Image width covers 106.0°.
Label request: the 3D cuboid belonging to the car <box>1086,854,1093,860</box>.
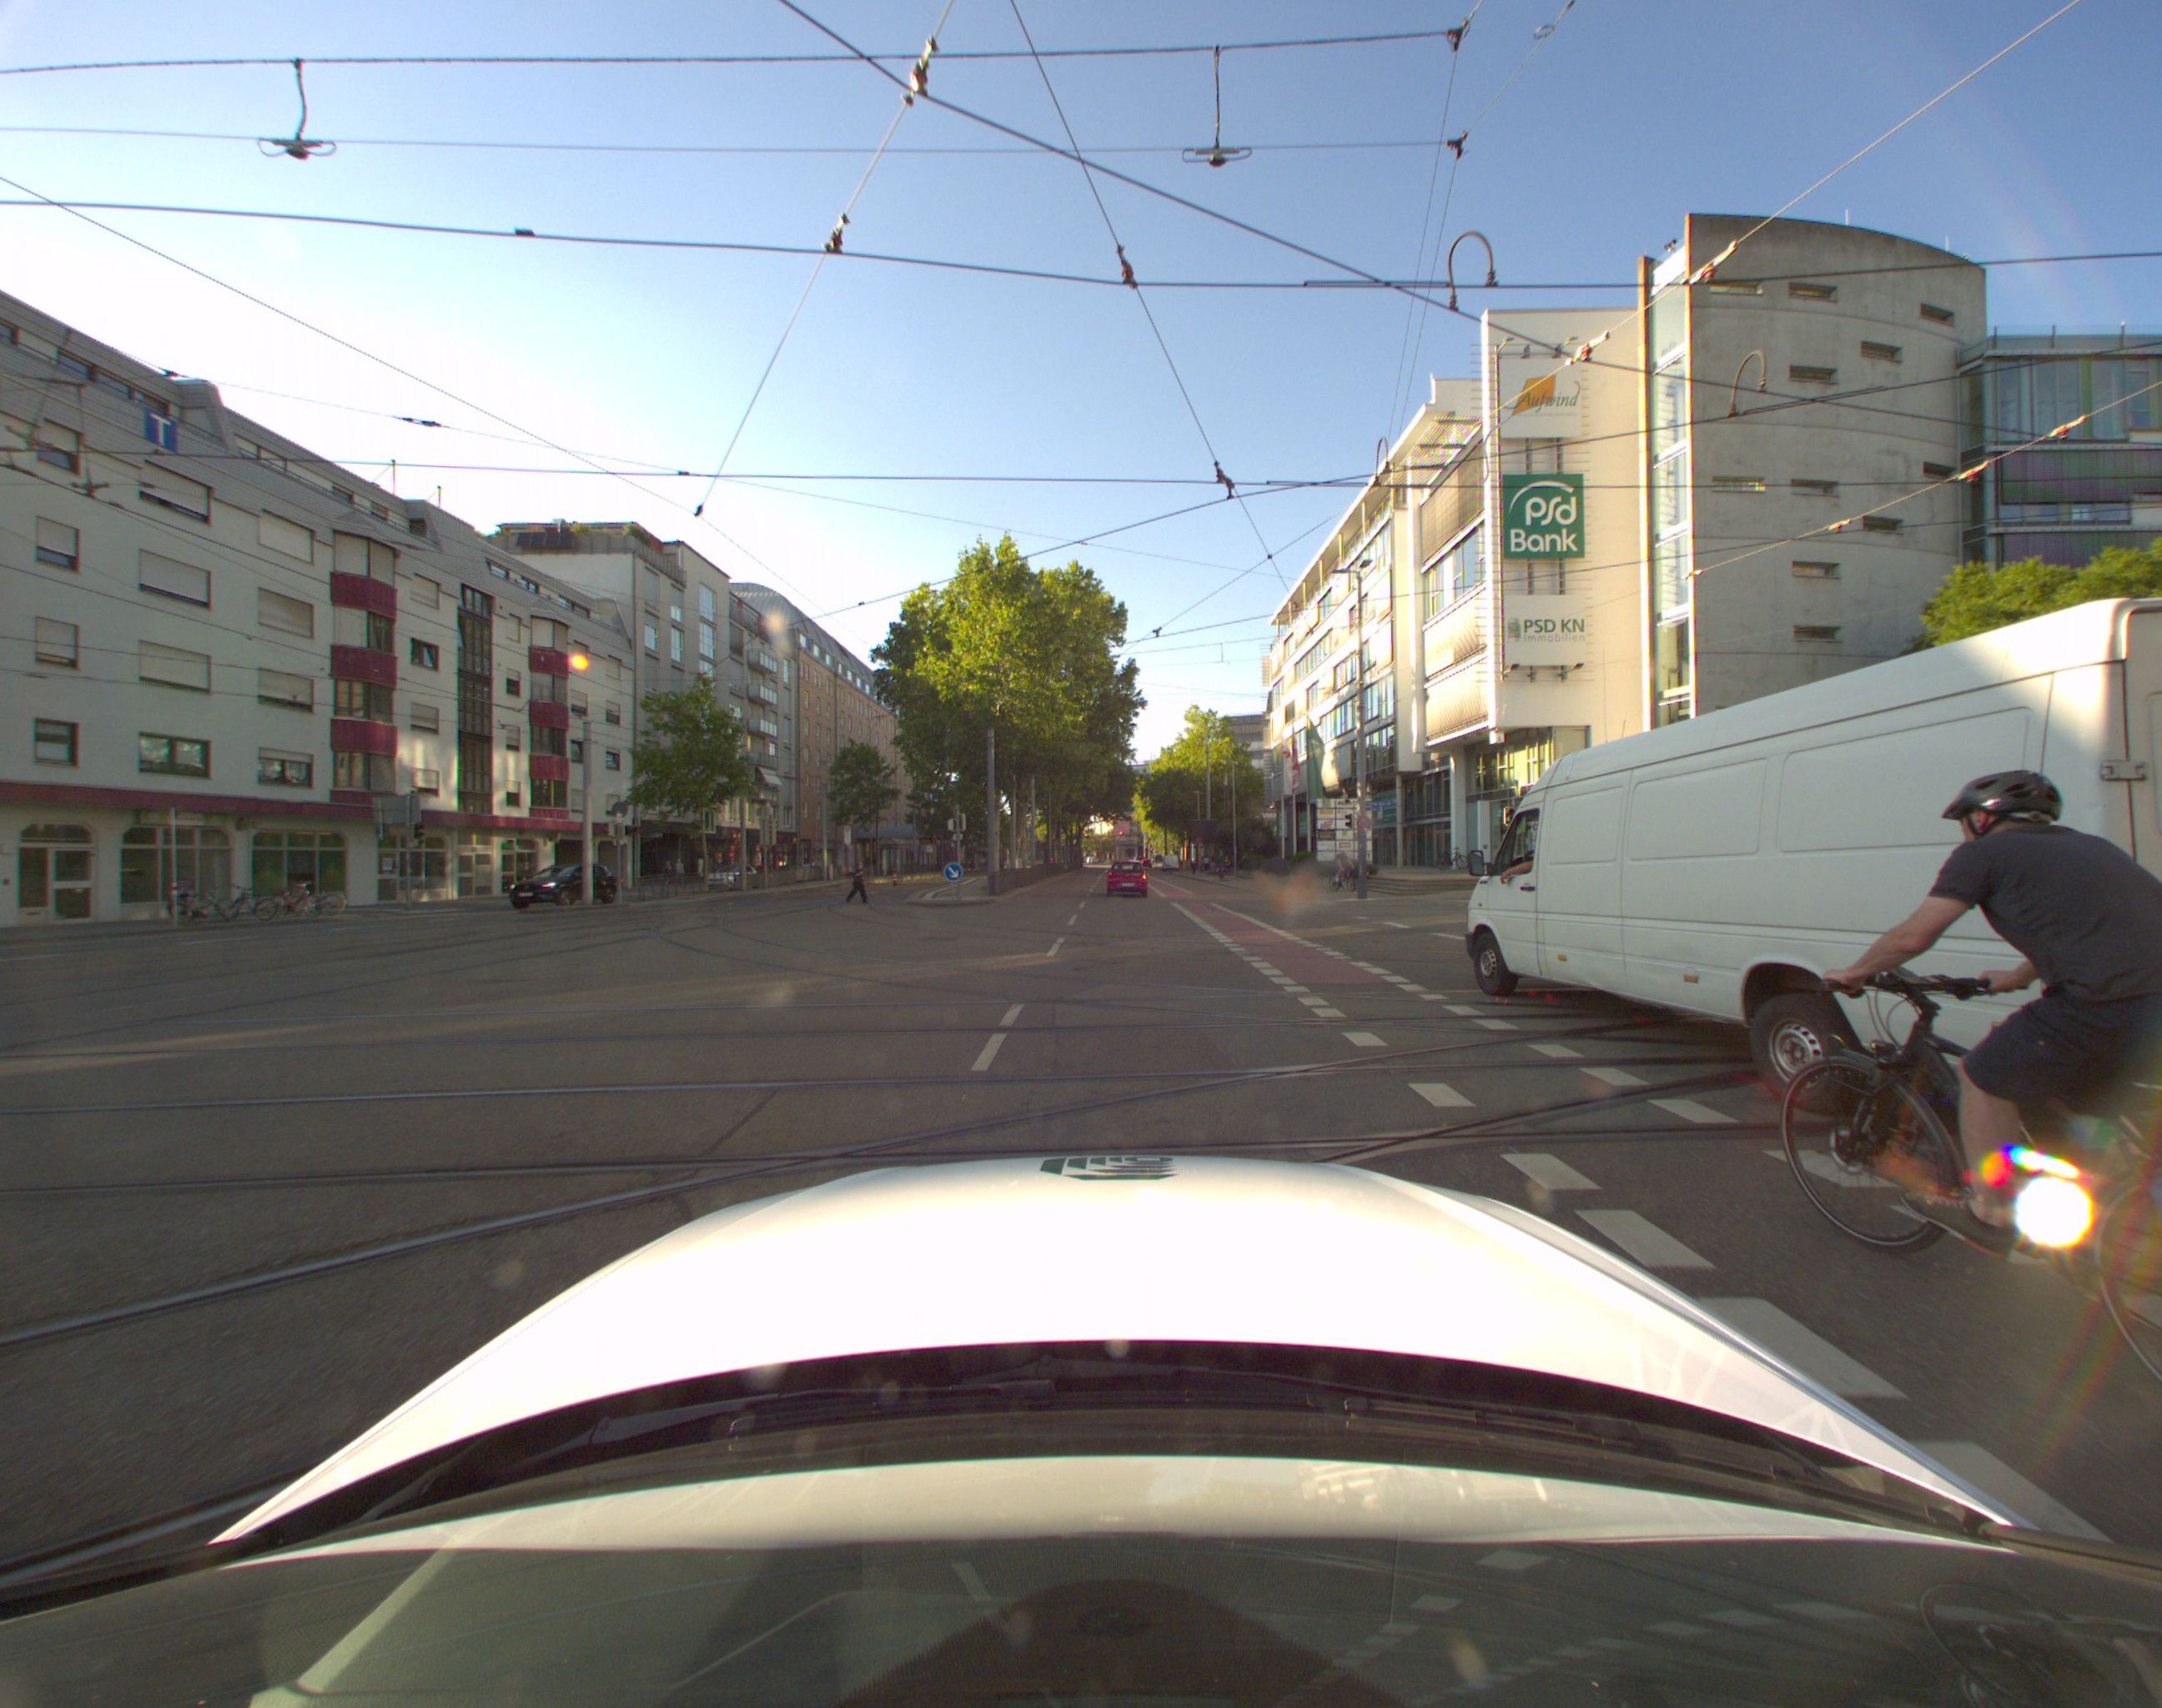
[{"bbox_3d":[2.528,0.938,240.335,1.773,1.588,3.408,0,0,-3],"label":"car"}]

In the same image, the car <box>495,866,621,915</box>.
[{"bbox_3d":[-19.785,1.328,31.049,1.948,1.672,4.261,-1,0,1],"label":"car"}]

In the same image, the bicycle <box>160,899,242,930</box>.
[{"bbox_3d":[-25.235,1.733,23.366,1.835,0.854,0.554,-1,-1,4],"label":"bicycle"}]

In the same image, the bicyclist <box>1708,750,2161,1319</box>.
[{"bbox_3d":[2.922,0.513,2.859,0.646,1.603,1.091,-1,-1,6],"label":"bicyclist"}]

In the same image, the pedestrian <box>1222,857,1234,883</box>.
[{"bbox_3d":[9.764,1.062,54.099,0.644,1.680,0.651,-1,-1,1],"label":"pedestrian"}]

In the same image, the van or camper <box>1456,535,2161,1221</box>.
[{"bbox_3d":[5.219,0.112,6.353,1.961,2.716,6.309,0,0,3],"label":"van or camper"}]

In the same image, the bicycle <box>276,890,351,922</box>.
[{"bbox_3d":[-24.462,1.648,25.959,1.837,0.985,0.553,-1,-1,-1],"label":"bicycle"}]

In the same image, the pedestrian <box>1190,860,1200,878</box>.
[{"bbox_3d":[10.100,1.328,72.371,0.640,1.579,0.723,-4,-1,-1],"label":"pedestrian"}]

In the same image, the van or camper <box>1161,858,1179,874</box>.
[{"bbox_3d":[11.165,1.466,102.367,1.985,1.989,4.748,0,-1,3],"label":"van or camper"}]

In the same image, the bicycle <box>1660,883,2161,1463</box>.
[{"bbox_3d":[2.934,0.775,2.800,0.646,1.281,1.969,-1,-1,7],"label":"bicycle"}]

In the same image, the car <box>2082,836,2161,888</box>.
[{"bbox_3d":[37.053,0.239,27.525,3.973,1.695,1.987,-1,0,0],"label":"car"}]

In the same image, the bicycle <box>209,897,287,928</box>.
[{"bbox_3d":[-24.614,1.716,24.078,1.835,0.854,0.554,-1,-1,4],"label":"bicycle"}]

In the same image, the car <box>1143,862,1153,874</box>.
[{"bbox_3d":[11.083,2.303,135.266,1.628,1.800,3.333,-1,-1,4],"label":"car"}]

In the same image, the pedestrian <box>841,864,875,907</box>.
[{"bbox_3d":[-8.192,1.136,29.927,1.043,1.544,0.694,-1,-1,-2],"label":"pedestrian"}]

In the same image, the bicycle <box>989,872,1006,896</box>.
[{"bbox_3d":[-3.532,1.260,34.424,0.393,0.949,1.354,-1,2,7],"label":"bicycle"}]

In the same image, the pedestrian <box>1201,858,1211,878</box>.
[{"bbox_3d":[10.890,1.230,71.063,0.562,1.702,0.906,-4,-1,0],"label":"pedestrian"}]

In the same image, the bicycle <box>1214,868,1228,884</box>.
[{"bbox_3d":[9.323,1.449,54.131,0.519,0.975,2.202,-4,0,1],"label":"bicycle"}]

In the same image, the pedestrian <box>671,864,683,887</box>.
[{"bbox_3d":[-26.531,1.402,53.491,0.533,1.494,0.587,-1,-1,-1],"label":"pedestrian"}]

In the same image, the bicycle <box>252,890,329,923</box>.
[{"bbox_3d":[-24.601,1.626,25.354,1.837,0.985,0.553,-1,-1,-1],"label":"bicycle"}]

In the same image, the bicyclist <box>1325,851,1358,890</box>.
[{"bbox_3d":[11.068,0.702,34.612,0.726,1.603,1.079,-3,0,-28],"label":"bicyclist"}]

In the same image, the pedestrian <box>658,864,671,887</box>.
[{"bbox_3d":[-27.177,1.392,53.200,0.533,1.494,0.587,-1,-1,-1],"label":"pedestrian"}]

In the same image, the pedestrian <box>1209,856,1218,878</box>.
[{"bbox_3d":[11.578,1.136,71.305,0.539,1.796,0.906,-4,-1,0],"label":"pedestrian"}]

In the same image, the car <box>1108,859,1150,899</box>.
[{"bbox_3d":[1.916,0.961,33.104,1.607,1.535,3.413,0,0,2],"label":"car"}]

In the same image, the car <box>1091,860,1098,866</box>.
[{"bbox_3d":[3.818,2.540,227.671,1.773,1.535,3.408,0,0,-3],"label":"car"}]

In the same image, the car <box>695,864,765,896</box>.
[{"bbox_3d":[-19.429,1.408,45.338,1.948,1.595,4.261,-1,0,1],"label":"car"}]

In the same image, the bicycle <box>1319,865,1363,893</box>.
[{"bbox_3d":[11.049,1.075,34.702,0.700,1.098,1.735,-4,0,-28],"label":"bicycle"}]

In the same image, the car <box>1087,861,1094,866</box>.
[{"bbox_3d":[2.745,2.653,234.291,1.773,1.535,3.408,0,0,-3],"label":"car"}]

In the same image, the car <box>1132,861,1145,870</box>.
[{"bbox_3d":[10.283,2.084,145.786,1.773,1.535,3.508,0,0,-3],"label":"car"}]
